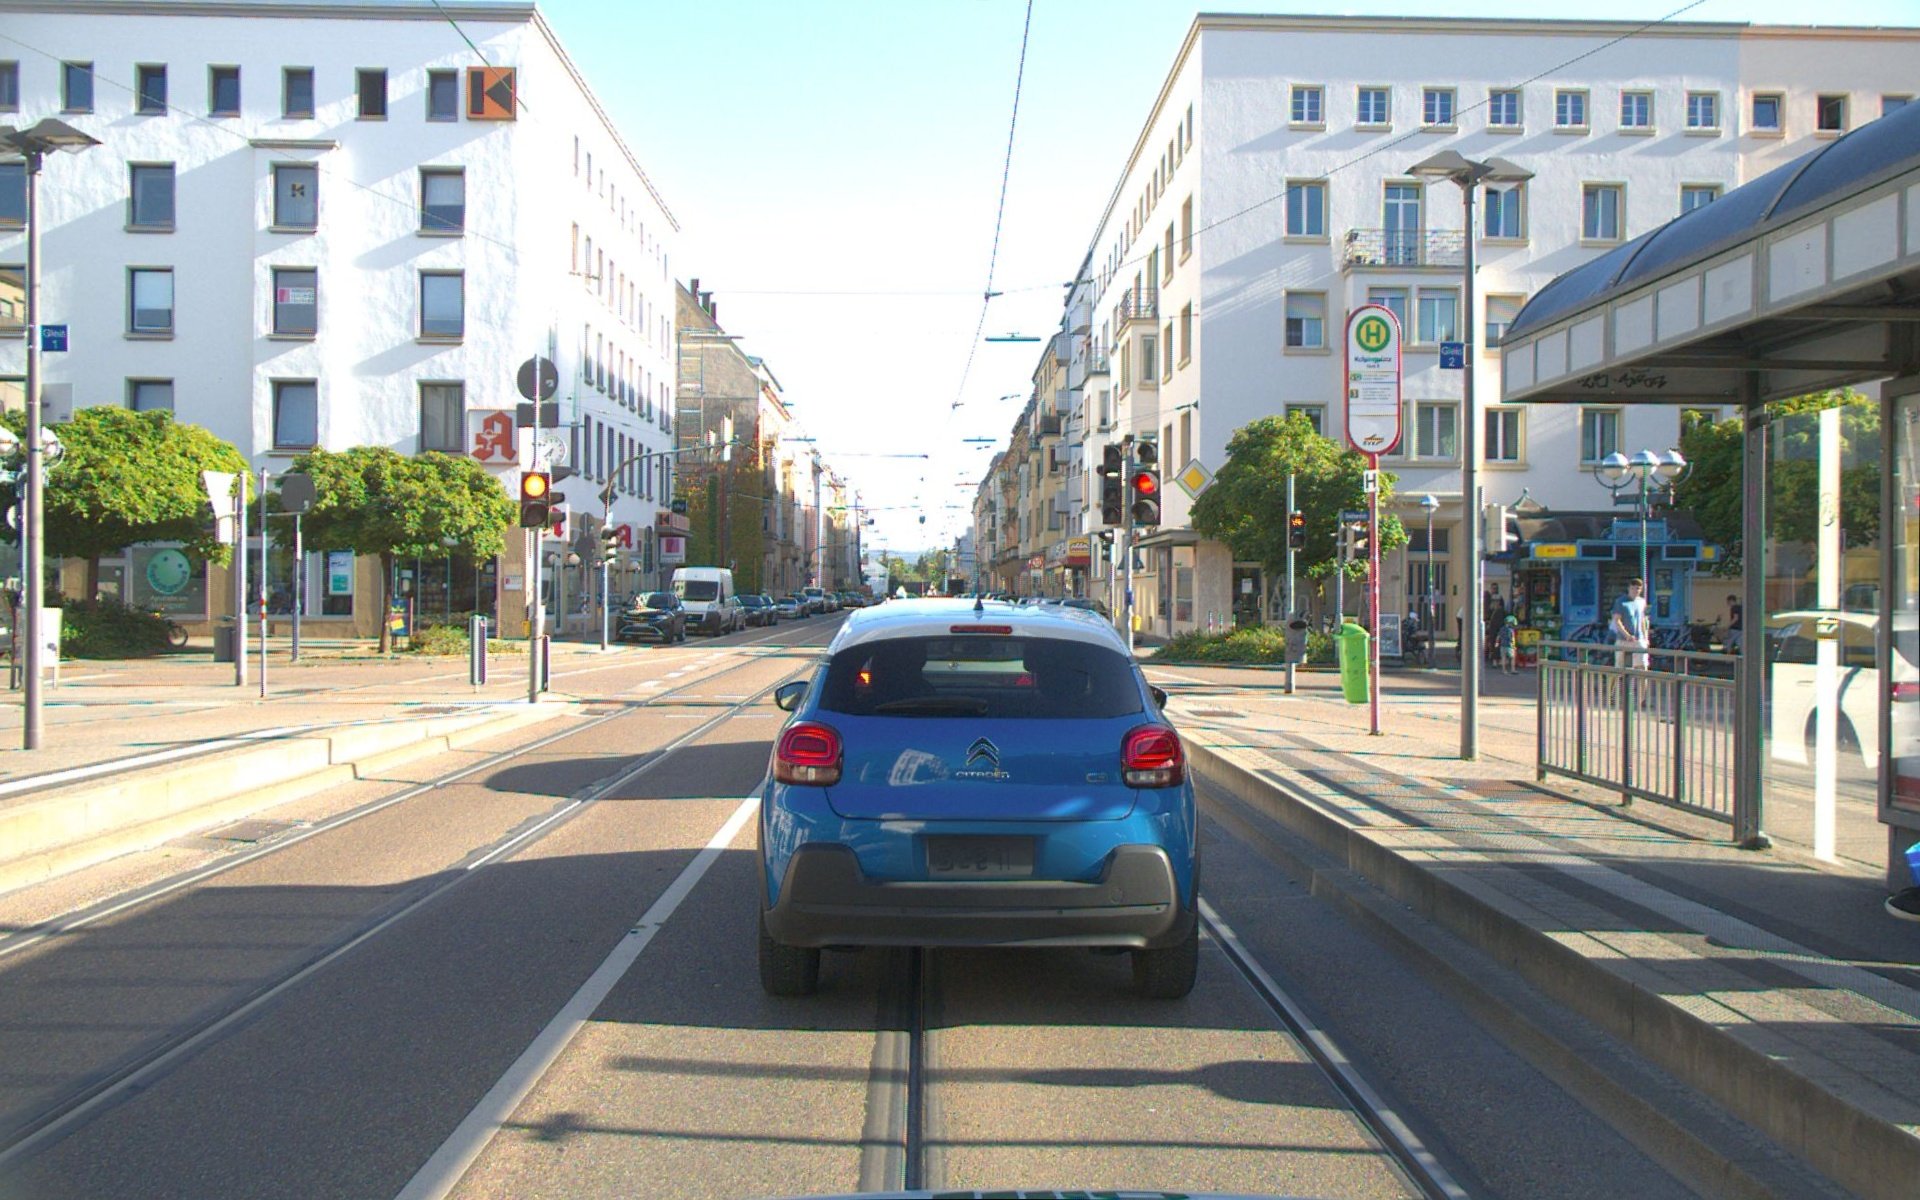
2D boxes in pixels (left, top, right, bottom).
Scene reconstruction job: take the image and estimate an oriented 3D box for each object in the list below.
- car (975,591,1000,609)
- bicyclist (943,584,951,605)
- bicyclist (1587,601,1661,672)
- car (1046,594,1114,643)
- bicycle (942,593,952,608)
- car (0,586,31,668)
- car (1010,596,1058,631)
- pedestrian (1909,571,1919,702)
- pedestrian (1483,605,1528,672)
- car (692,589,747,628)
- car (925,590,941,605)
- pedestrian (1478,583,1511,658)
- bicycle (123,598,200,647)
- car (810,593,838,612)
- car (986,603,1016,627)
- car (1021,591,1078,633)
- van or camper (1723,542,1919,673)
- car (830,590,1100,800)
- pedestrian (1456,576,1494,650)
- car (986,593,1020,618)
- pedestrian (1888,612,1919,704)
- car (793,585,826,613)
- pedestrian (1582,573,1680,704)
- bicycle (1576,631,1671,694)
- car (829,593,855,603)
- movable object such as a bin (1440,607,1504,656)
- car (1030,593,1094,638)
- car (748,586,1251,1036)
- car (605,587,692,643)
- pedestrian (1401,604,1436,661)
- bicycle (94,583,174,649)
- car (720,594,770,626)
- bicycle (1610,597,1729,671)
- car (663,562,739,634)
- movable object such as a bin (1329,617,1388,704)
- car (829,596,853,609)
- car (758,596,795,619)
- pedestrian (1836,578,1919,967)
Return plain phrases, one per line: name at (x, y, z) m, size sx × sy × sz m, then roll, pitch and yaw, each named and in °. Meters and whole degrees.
car at (2.186, -0.003, 133.206) m, size 1.953 × 1.489 × 4.000 m, roll 0°, pitch 0°, yaw 0°
bicyclist at (-1.287, -0.558, 164.336) m, size 0.793 × 2.049 × 0.922 m, roll 1°, pitch -1°, yaw -1°
bicyclist at (12.171, 0.666, 30.315) m, size 0.926 × 1.247 × 0.939 m, roll 2°, pitch 0°, yaw -43°
car at (3.768, 0.566, 52.522) m, size 1.870 × 1.489 × 4.000 m, roll 0°, pitch 0°, yaw 0°
bicycle at (-1.295, 0.029, 164.605) m, size 0.901 × 1.413 × 3.131 m, roll 0°, pitch 0°, yaw -1°
car at (-22.387, 0.568, 35.424) m, size 3.906 × 1.736 × 1.825 m, roll 0°, pitch 0°, yaw -2°
car at (3.239, 0.591, 72.929) m, size 1.953 × 1.489 × 4.000 m, roll 0°, pitch 0°, yaw 0°
pedestrian at (13.280, 0.503, 22.434) m, size 0.546 × 1.775 × 0.527 m, roll 1°, pitch -1°, yaw 10°
pedestrian at (12.182, 0.848, 36.976) m, size 0.715 × 1.434 × 0.755 m, roll 0°, pitch 3°, yaw -1°
car at (-10.043, 0.357, 69.300) m, size 1.850 × 1.522 × 3.560 m, roll 1°, pitch 0°, yaw -2°
car at (-3.389, -0.342, 205.584) m, size 1.953 × 1.803 × 3.999 m, roll 0°, pitch 0°, yaw -1°
pedestrian at (13.520, 0.514, 41.825) m, size 0.639 × 1.871 × 0.659 m, roll 0°, pitch 0°, yaw 2°
bicycle at (-20.625, 0.561, 42.772) m, size 0.605 × 1.211 × 2.621 m, roll 0°, pitch 0°, yaw 2°
car at (-11.196, 0.215, 136.453) m, size 1.914 × 1.579 × 3.939 m, roll 1°, pitch 0°, yaw 1°
car at (2.692, 0.971, 109.760) m, size 1.952 × 1.579 × 4.000 m, roll 0°, pitch 0°, yaw 0°
car at (3.383, 0.448, 62.971) m, size 1.953 × 1.527 × 4.000 m, roll 0°, pitch 0°, yaw 0°
van or camper at (20.981, 0.134, 36.738) m, size 6.976 × 2.795 × 2.371 m, roll 0°, pitch 1°, yaw 0°
car at (-0.002, 0.688, 14.444) m, size 1.944 × 1.490 × 4.814 m, roll 1°, pitch 0°, yaw -1°
pedestrian at (13.253, 0.335, 42.567) m, size 0.768 × 1.871 × 0.678 m, roll 0°, pitch 0°, yaw 2°
car at (2.617, 0.309, 102.040) m, size 1.953 × 1.489 × 4.504 m, roll 0°, pitch 0°, yaw 0°
pedestrian at (12.645, 0.765, 21.884) m, size 0.459 × 1.189 × 0.558 m, roll 1°, pitch -1°, yaw 8°
car at (-11.487, -0.054, 126.564) m, size 1.965 × 2.049 × 4.690 m, roll 1°, pitch 0°, yaw 1°
pedestrian at (9.981, 0.568, 24.648) m, size 0.961 × 1.910 × 1.128 m, roll 0°, pitch -1°, yaw -3°
bicycle at (12.158, 1.133, 30.266) m, size 2.304 × 1.080 × 0.709 m, roll 2°, pitch 0°, yaw -44°
car at (-13.185, -0.239, 184.624) m, size 1.951 × 1.176 × 4.518 m, roll 0°, pitch 0°, yaw 8°
movable object such as a bin at (12.504, 0.760, 40.425) m, size 1.174 × 1.173 × 1.217 m, roll 0°, pitch 0°, yaw 0°
car at (3.492, 0.505, 57.307) m, size 1.953 × 1.489 × 4.000 m, roll 0°, pitch 0°, yaw 0°
car at (0.106, 0.719, 7.571) m, size 1.693 × 1.508 × 3.826 m, roll 1°, pitch 0°, yaw -1°
car at (-9.789, 0.467, 52.255) m, size 1.953 × 1.596 × 4.401 m, roll 3°, pitch 0°, yaw -2°
pedestrian at (10.872, 0.759, 39.197) m, size 0.725 × 1.339 × 0.628 m, roll 0°, pitch 0°, yaw 22°
bicycle at (-21.334, 0.401, 42.785) m, size 0.605 × 1.635 × 2.621 m, roll 0°, pitch 0°, yaw 3°
car at (-10.102, 0.486, 77.977) m, size 1.953 × 1.422 × 4.155 m, roll 1°, pitch 0°, yaw -2°
bicycle at (15.891, 0.763, 37.085) m, size 2.336 × 1.558 × 0.726 m, roll 2°, pitch 0°, yaw -2°
car at (-9.738, -0.077, 62.698) m, size 2.043 × 2.586 × 6.203 m, roll 1°, pitch 0°, yaw -2°
movable object such as a bin at (3.736, 0.562, 15.524) m, size 0.439 × 0.800 × 0.489 m, roll 0°, pitch 0°, yaw 2°
car at (-11.041, 0.206, 154.054) m, size 1.953 × 1.176 × 4.000 m, roll 0°, pitch 0°, yaw 0°
car at (-11.412, 0.479, 103.013) m, size 1.953 × 1.348 × 3.921 m, roll 1°, pitch 0°, yaw -2°
pedestrian at (3.591, 0.579, 5.344) m, size 0.978 × 1.246 × 0.923 m, roll 3°, pitch -1°, yaw -1°
